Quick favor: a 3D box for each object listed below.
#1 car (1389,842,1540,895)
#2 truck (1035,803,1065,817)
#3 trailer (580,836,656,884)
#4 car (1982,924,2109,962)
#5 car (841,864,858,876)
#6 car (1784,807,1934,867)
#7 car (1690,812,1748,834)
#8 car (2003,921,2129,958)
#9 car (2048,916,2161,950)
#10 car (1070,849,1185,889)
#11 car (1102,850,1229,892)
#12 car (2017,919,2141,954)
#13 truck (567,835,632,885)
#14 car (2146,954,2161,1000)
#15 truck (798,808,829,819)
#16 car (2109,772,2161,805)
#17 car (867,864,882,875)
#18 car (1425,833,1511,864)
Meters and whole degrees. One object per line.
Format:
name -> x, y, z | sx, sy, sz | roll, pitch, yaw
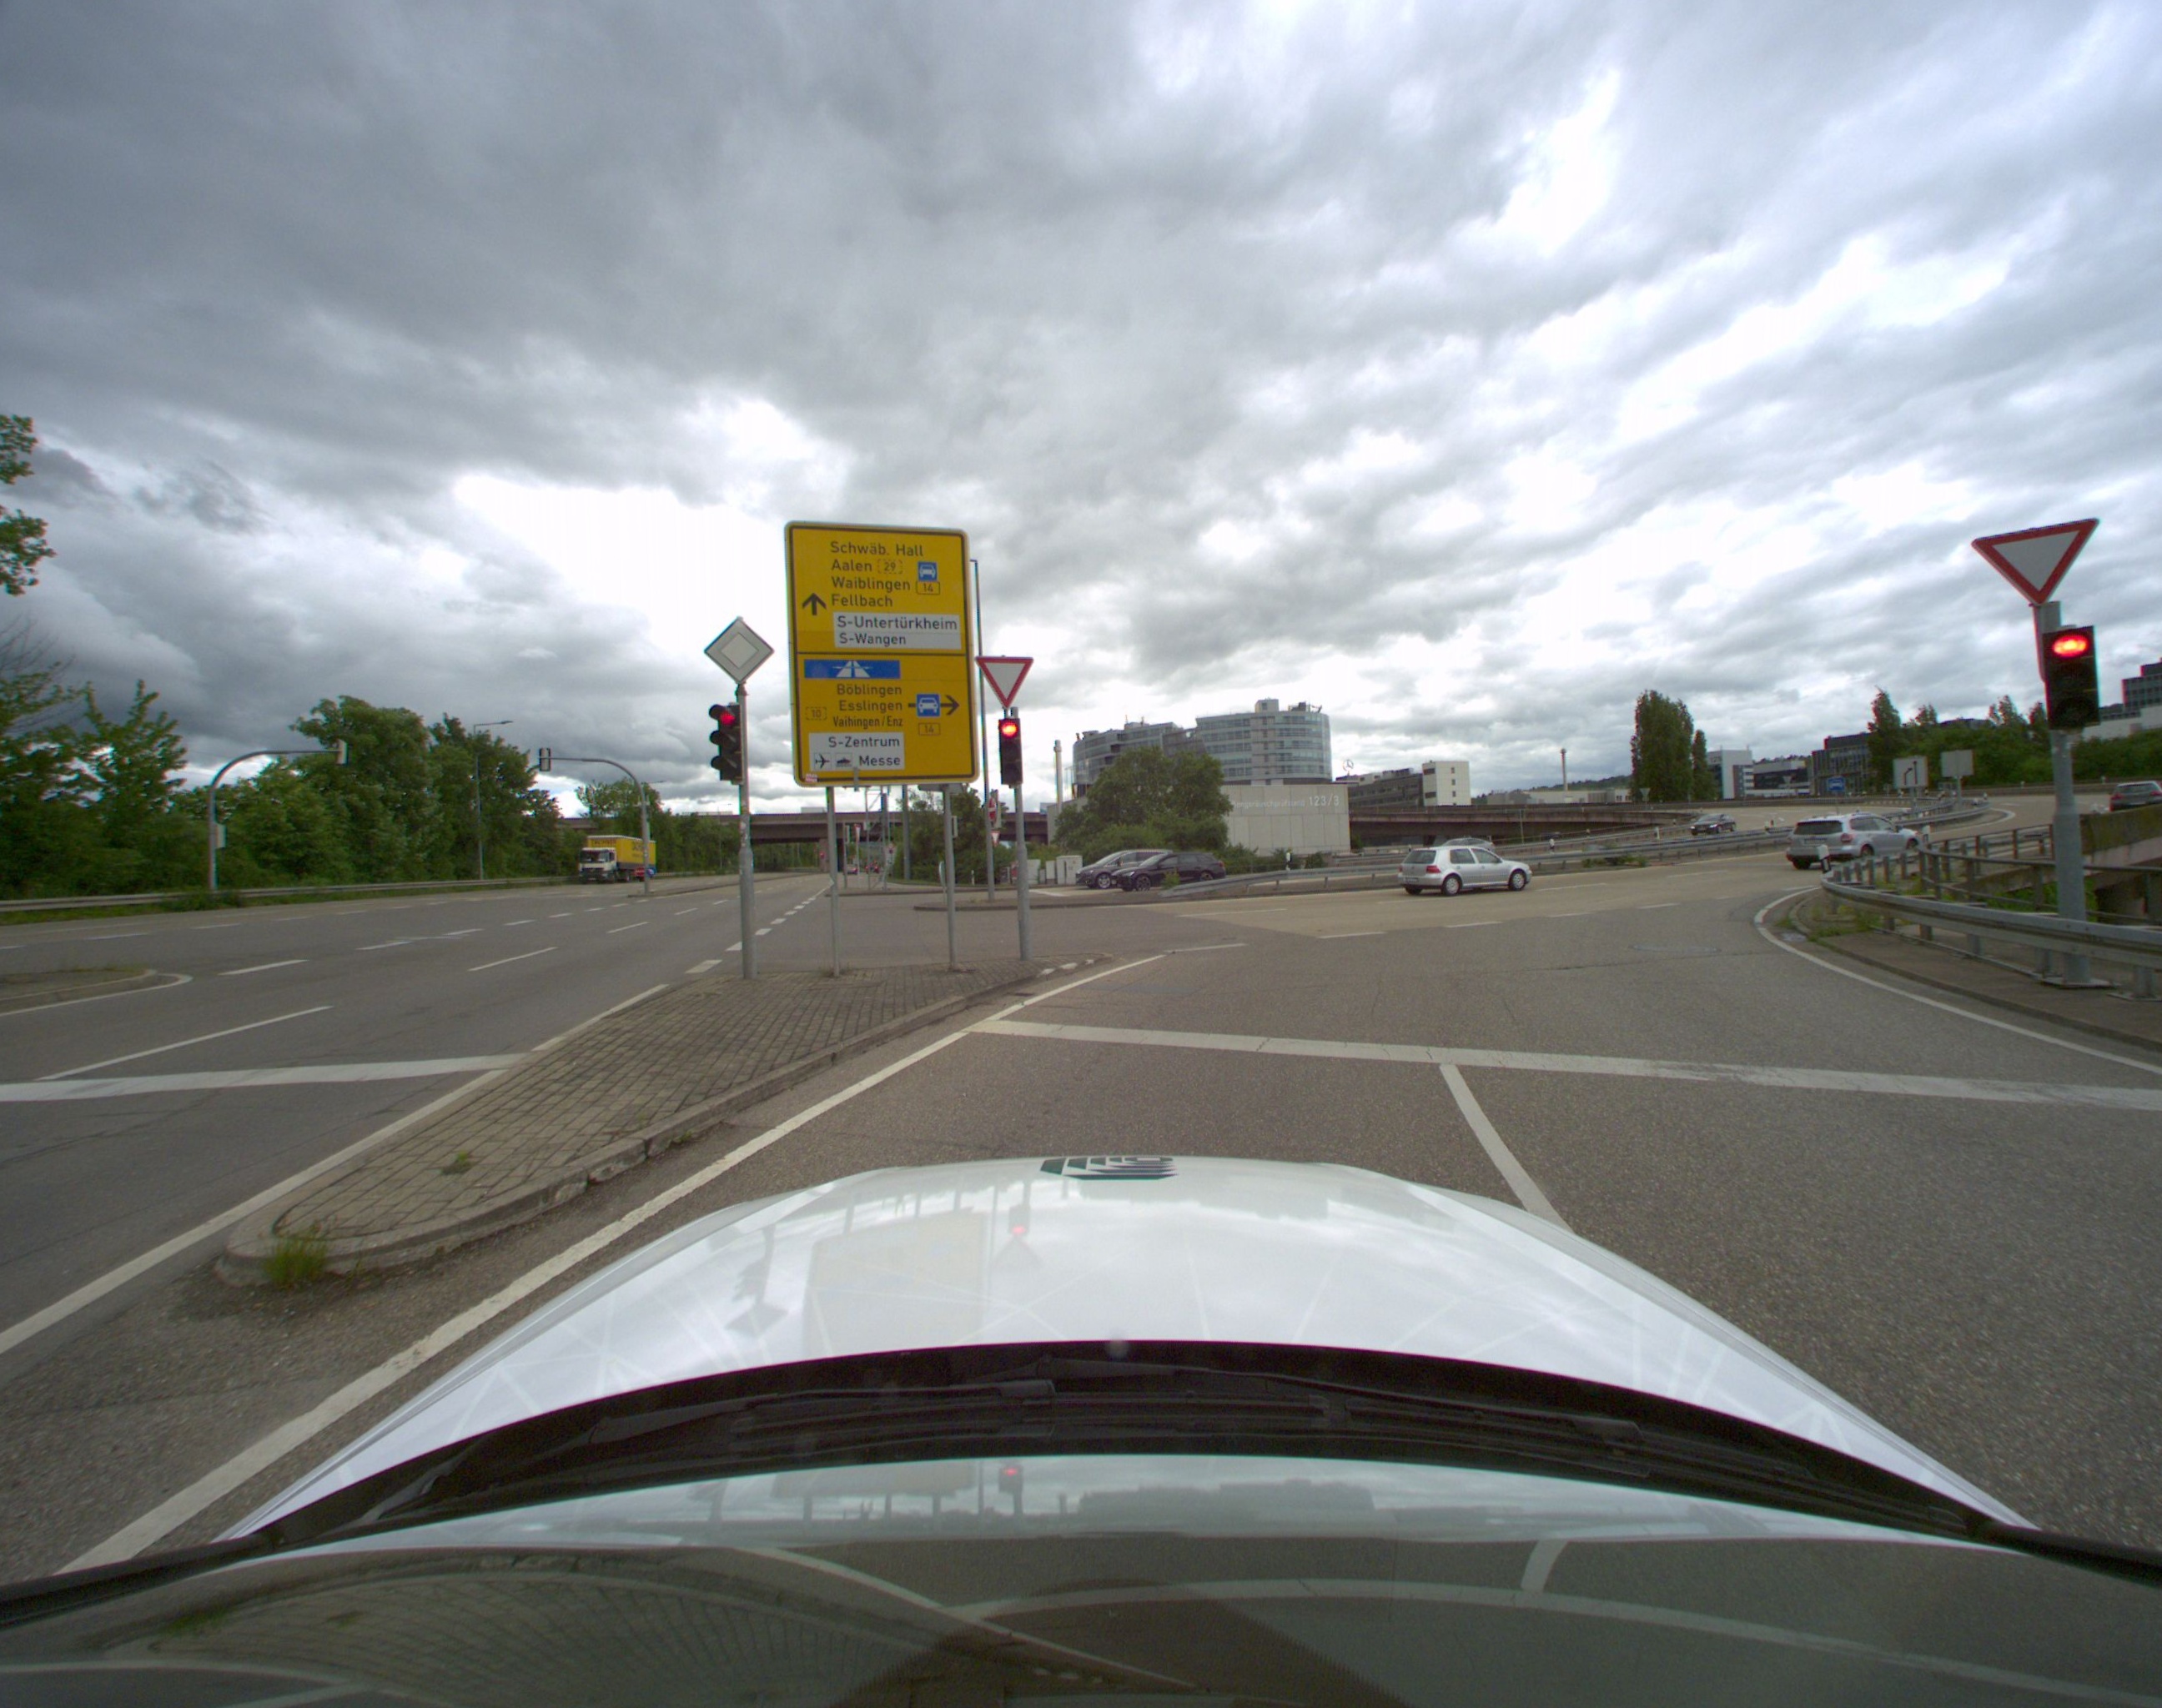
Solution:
car -> 11.483, 0.399, 24.413 | 4.066, 1.400, 1.718 | -2, 0, -20
truck -> -5.486, -7.953, 146.067 | 5.033, 2.321, 2.004 | -1, 0, 6
trailer -> -42.572, 0.549, 75.391 | 2.874, 4.084, 11.376 | 1, 0, -13
car -> 48.148, 4.407, 40.724 | 1.832, 1.354, 3.827 | -3, 1, -29
car -> -31.126, 2.147, 109.463 | 1.996, 1.442, 4.089 | 0, -2, -14
car -> 24.784, -0.542, 25.924 | 4.559, 1.737, 1.717 | -2, 0, -22
car -> 46.693, -2.278, 59.580 | 4.004, 1.421, 1.898 | -4, 2, -28
car -> 50.304, 4.319, 41.677 | 1.832, 1.354, 3.827 | -3, 1, -29
car -> 54.889, 4.188, 43.548 | 1.832, 1.354, 3.827 | -3, 1, -29
car -> 2.020, 0.639, 35.968 | 4.689, 1.571, 1.945 | -1, 1, -17
car -> 3.322, 0.644, 32.144 | 4.619, 1.457, 1.943 | -1, 1, -19
car -> 52.190, 4.272, 42.657 | 1.832, 1.354, 3.827 | -3, 1, -29
truck -> -41.301, 0.489, 70.042 | 2.875, 4.084, 6.458 | 1, 0, -13
car -> 42.011, 4.559, 30.444 | 4.006, 1.534, 1.812 | -3, 1, -25
truck -> -54.409, -8.264, 165.611 | 5.603, 2.163, 2.000 | -1, 0, 0
car -> 52.330, -3.213, 40.274 | 4.264, 1.461, 1.710 | -3, 0, -37
car -> -31.353, 2.391, 123.762 | 1.995, 1.464, 4.092 | -1, -2, -12
car -> 23.540, -0.319, 49.537 | 4.744, 1.662, 1.904 | 2, 0, -18
